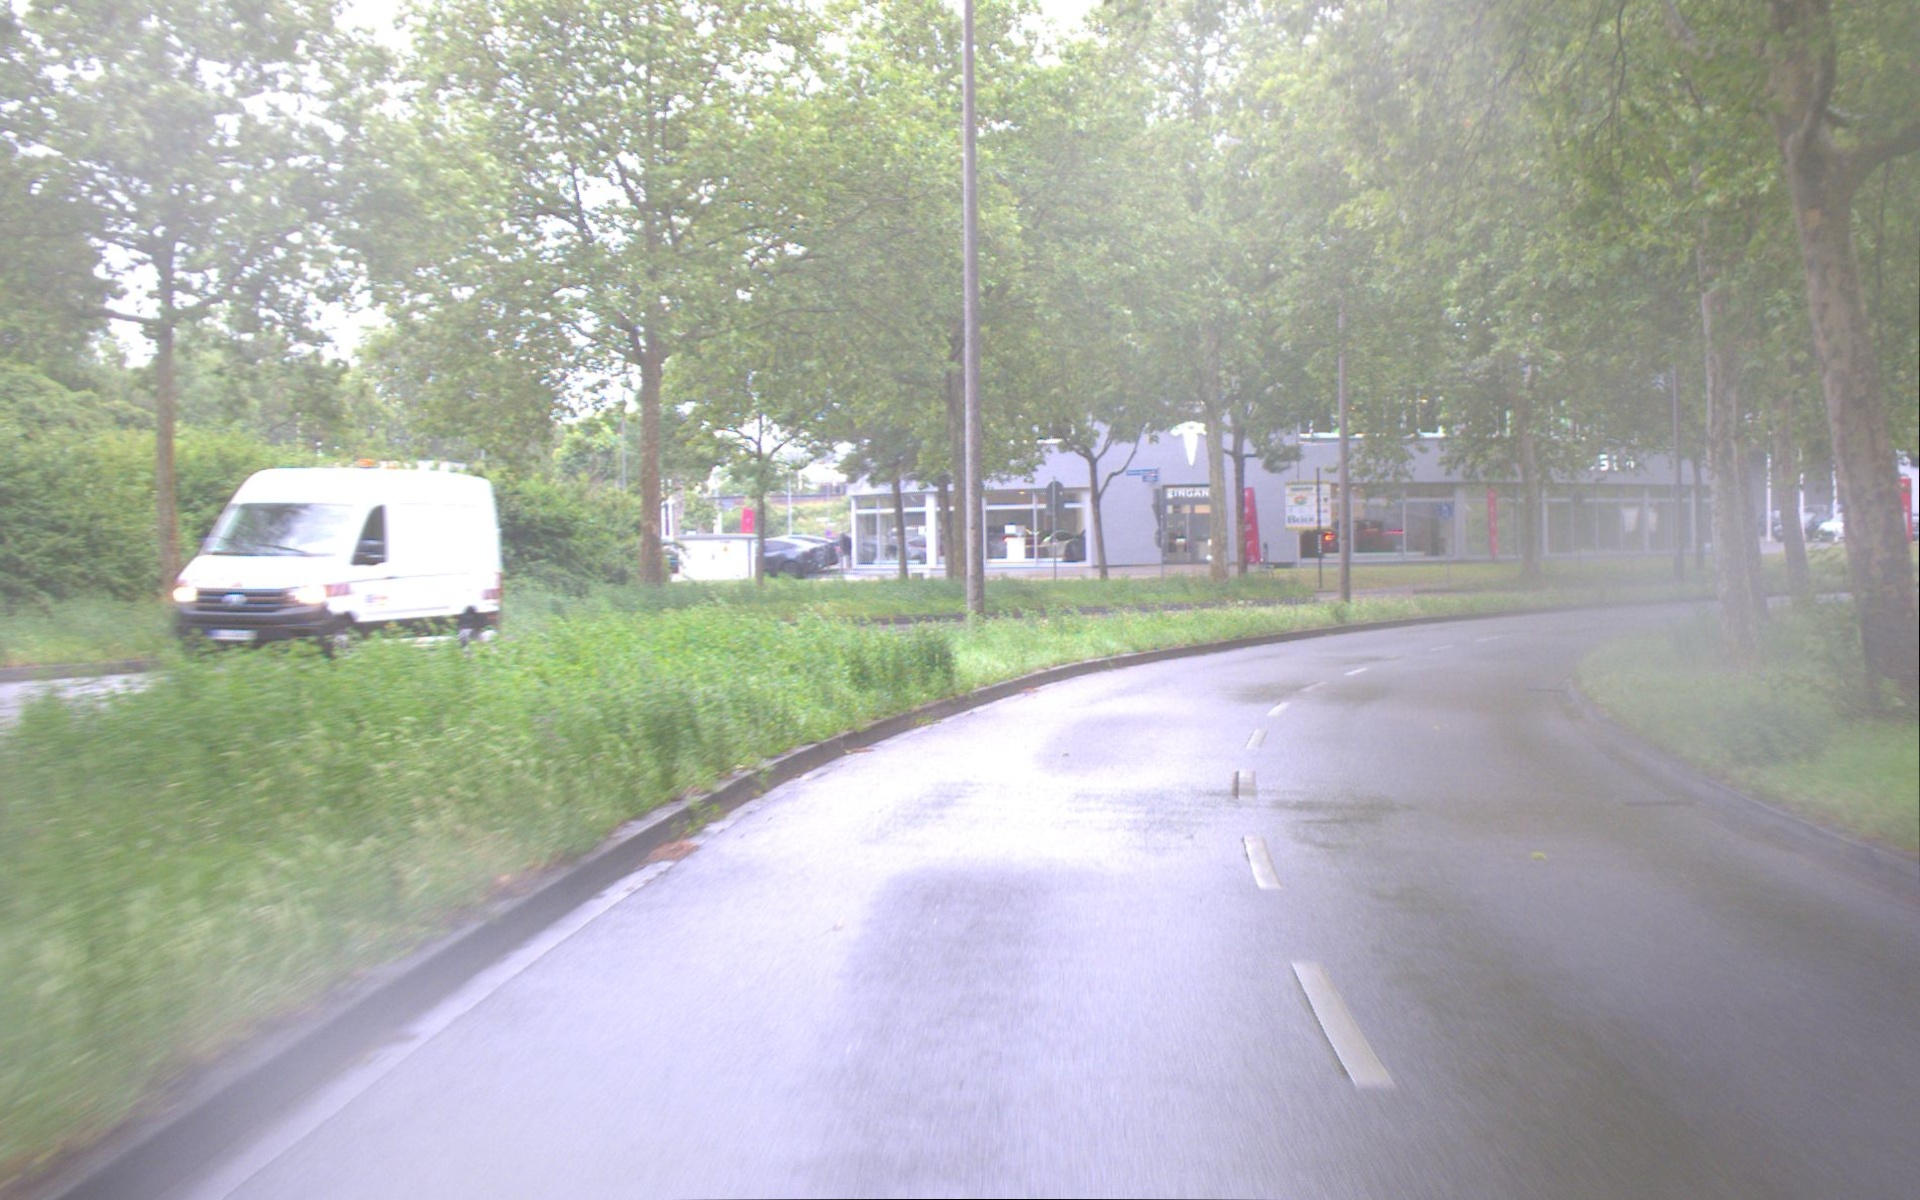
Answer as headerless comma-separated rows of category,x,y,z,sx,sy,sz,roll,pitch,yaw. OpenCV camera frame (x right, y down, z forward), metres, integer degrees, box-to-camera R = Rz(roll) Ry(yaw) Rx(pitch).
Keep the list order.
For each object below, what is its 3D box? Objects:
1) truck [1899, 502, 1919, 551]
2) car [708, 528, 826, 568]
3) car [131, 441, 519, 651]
truck,49.592,-3.700,171.310,6.177,2.336,2.254,-3,6,-41
car,-7.359,-1.977,131.128,4.193,1.489,1.597,1,1,13
car,-7.799,-0.683,43.088,2.280,2.418,6.356,0,1,15
